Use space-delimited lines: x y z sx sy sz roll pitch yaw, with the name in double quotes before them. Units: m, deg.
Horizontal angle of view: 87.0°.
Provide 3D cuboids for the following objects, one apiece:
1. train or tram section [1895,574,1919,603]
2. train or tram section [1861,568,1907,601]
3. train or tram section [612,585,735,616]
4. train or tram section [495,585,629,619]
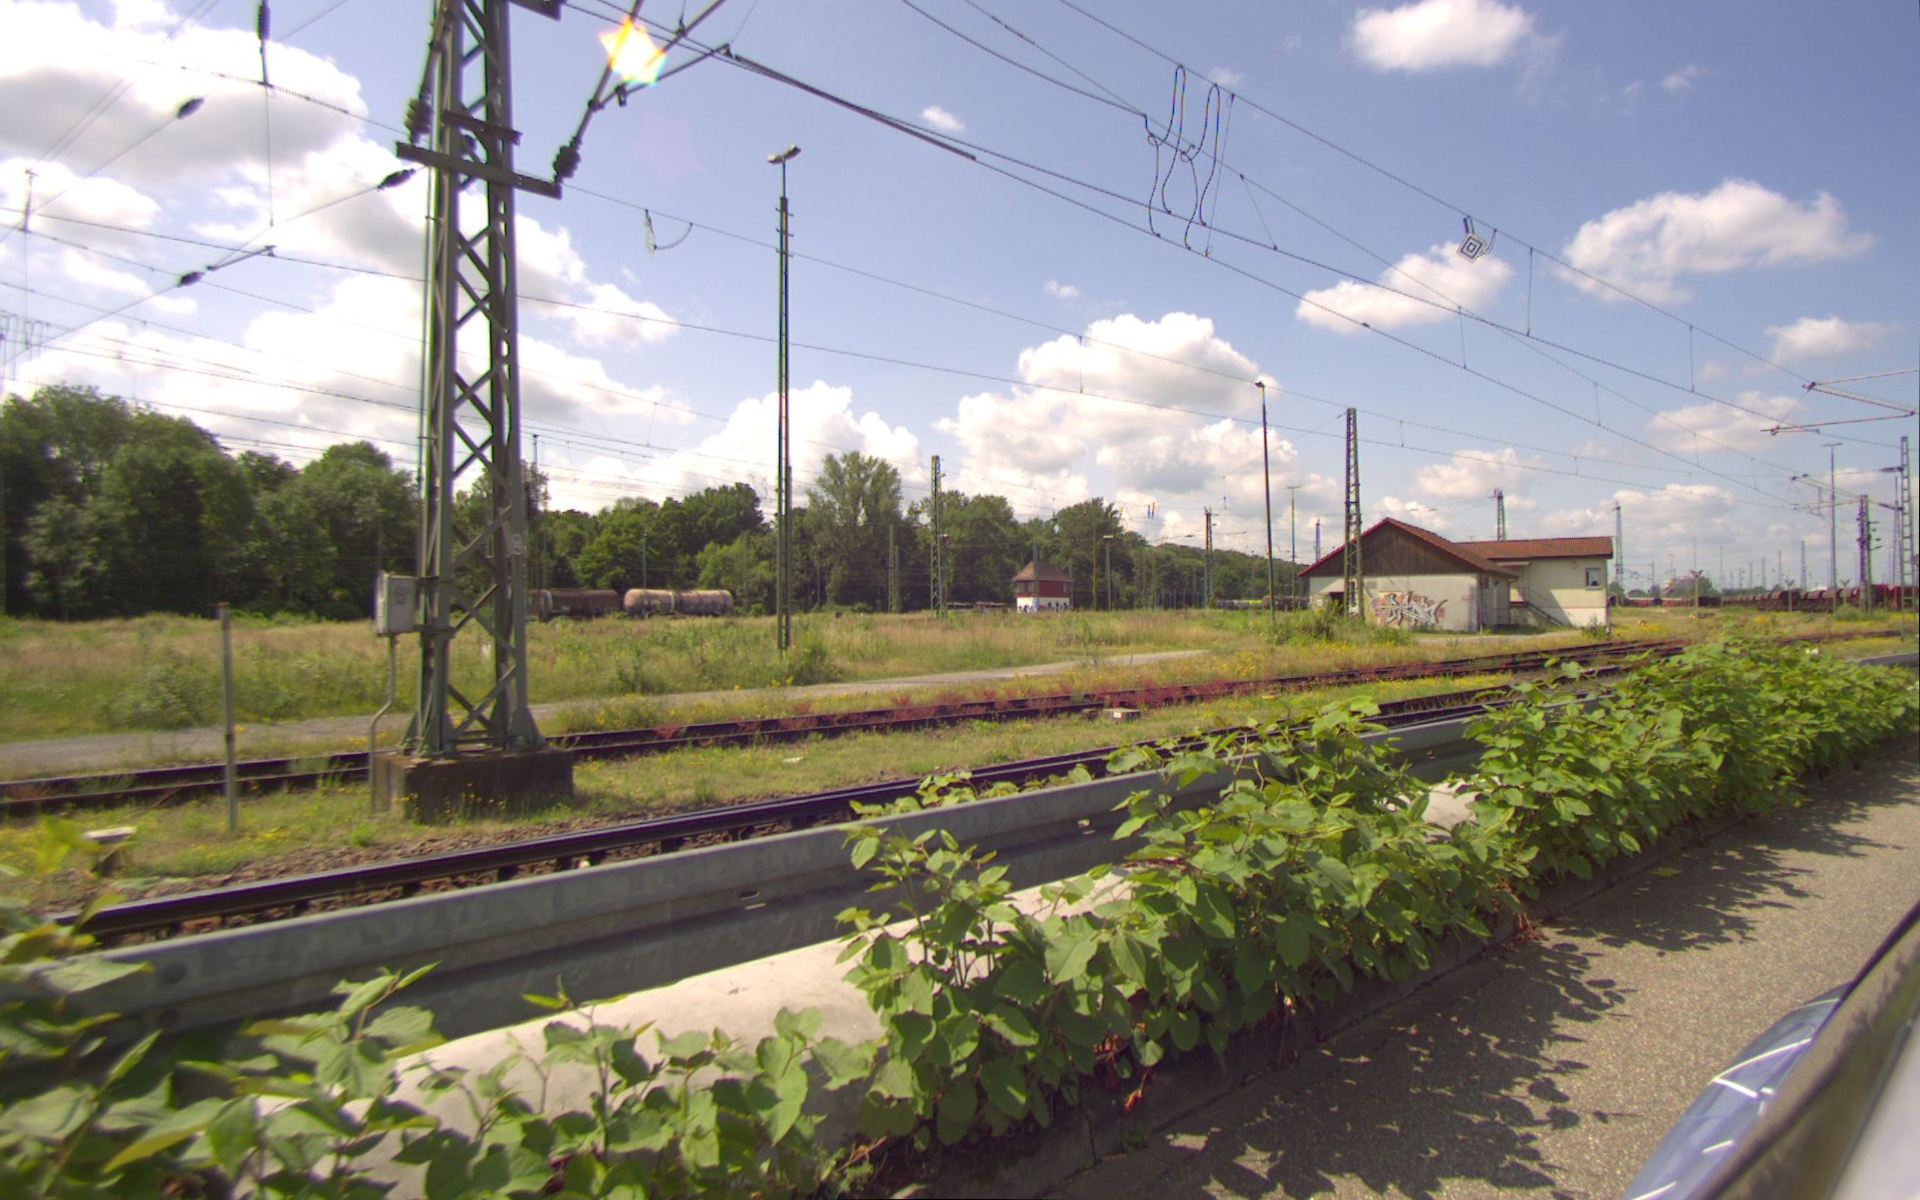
"train or tram section" 131.646 -1.534 139.349 3.189 3.764 12.376 -1 -1 38
"train or tram section" 113.614 -1.816 124.574 3.285 3.764 12.376 -1 -1 38
"train or tram section" -33.154 -0.018 118.332 3.014 3.347 15.563 -1 0 35
"train or tram section" -41.471 0.144 106.224 3.014 3.347 13.766 -1 0 35
